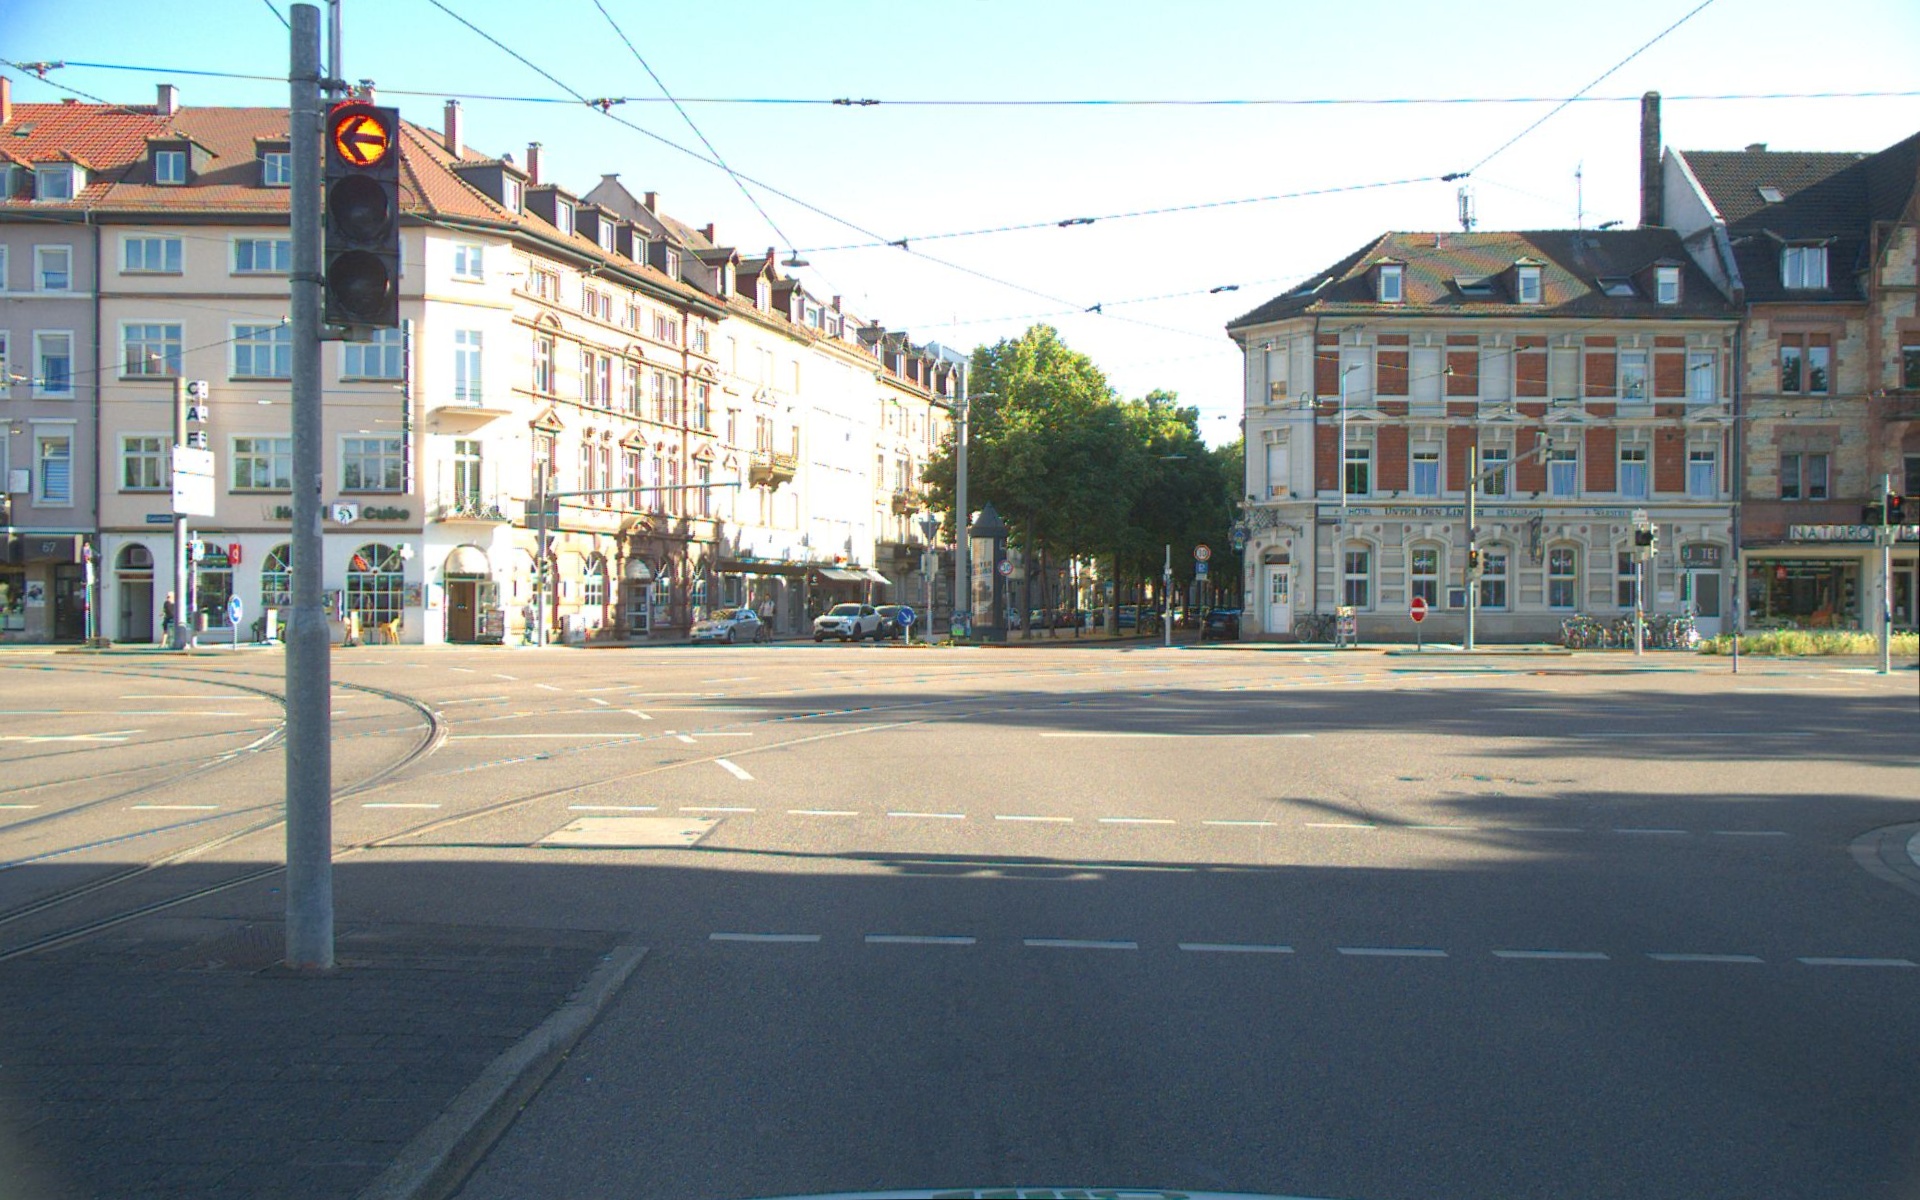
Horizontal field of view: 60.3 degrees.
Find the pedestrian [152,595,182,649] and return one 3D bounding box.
[{"bbox_3d":[-24.859,0.685,51.856,0.570,1.699,0.752,1,-1,-1],"label":"pedestrian"}]

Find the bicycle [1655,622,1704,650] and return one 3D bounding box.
[{"bbox_3d":[23.283,1.168,53.537,0.645,0.855,2.160,1,0,0],"label":"bicycle"}]

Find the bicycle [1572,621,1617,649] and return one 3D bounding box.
[{"bbox_3d":[20.484,1.120,53.464,0.645,0.855,2.160,1,0,0],"label":"bicycle"}]

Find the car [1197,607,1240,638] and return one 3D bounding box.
[{"bbox_3d":[12.959,1.104,82.758,1.642,1.509,3.950,0,0,16],"label":"car"}]

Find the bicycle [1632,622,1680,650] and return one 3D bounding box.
[{"bbox_3d":[22.495,1.154,53.491,0.645,0.855,2.160,1,0,0],"label":"bicycle"}]

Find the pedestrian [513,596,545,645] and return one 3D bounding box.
[{"bbox_3d":[-15.156,0.720,58.217,0.759,1.699,0.831,1,-1,15],"label":"pedestrian"}]

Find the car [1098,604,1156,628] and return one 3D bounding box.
[{"bbox_3d":[11.713,1.114,115.843,3.819,1.677,1.684,0,0,16],"label":"car"}]

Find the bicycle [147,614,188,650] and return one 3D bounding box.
[{"bbox_3d":[-24.866,0.985,51.895,0.561,1.096,1.497,1,0,-1],"label":"bicycle"}]

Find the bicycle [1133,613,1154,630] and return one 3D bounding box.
[{"bbox_3d":[11.052,1.294,99.636,0.625,1.039,1.840,1,0,-14],"label":"bicycle"}]

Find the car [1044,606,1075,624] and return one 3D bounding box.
[{"bbox_3d":[7.889,1.212,130.852,1.642,1.378,3.593,0,0,16],"label":"car"}]

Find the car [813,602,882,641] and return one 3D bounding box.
[{"bbox_3d":[-4.533,0.842,67.234,1.642,1.509,3.774,0,0,16],"label":"car"}]

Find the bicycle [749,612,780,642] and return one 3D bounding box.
[{"bbox_3d":[-7.678,1.046,65.134,0.687,1.137,1.636,1,0,13],"label":"bicycle"}]

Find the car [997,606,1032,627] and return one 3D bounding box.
[{"bbox_3d":[3.820,1.156,115.523,1.642,1.378,3.593,0,0,16],"label":"car"}]

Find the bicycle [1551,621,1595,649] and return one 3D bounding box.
[{"bbox_3d":[19.765,1.107,53.377,0.645,0.855,2.160,1,0,0],"label":"bicycle"}]

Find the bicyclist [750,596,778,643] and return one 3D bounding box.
[{"bbox_3d":[-7.711,0.765,65.011,0.761,1.834,1.056,1,-1,13],"label":"bicyclist"}]

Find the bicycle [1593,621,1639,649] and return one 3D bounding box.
[{"bbox_3d":[21.196,1.132,53.478,0.645,0.855,2.160,1,0,0],"label":"bicycle"}]

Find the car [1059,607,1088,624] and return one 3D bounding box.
[{"bbox_3d":[9.314,1.248,135.904,1.642,1.378,3.593,0,0,16],"label":"car"}]

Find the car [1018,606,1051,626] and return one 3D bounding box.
[{"bbox_3d":[5.531,1.180,122.510,1.642,1.378,3.593,0,0,16],"label":"car"}]

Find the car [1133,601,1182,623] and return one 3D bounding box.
[{"bbox_3d":[15.317,0.957,128.256,3.503,1.677,1.684,0,0,16],"label":"car"}]

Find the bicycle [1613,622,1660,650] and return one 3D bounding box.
[{"bbox_3d":[21.867,1.143,53.512,0.645,0.855,2.160,1,0,0],"label":"bicycle"}]

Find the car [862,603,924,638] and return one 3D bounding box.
[{"bbox_3d":[-2.946,0.886,73.559,1.642,1.509,3.950,0,0,16],"label":"car"}]

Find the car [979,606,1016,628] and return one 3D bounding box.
[{"bbox_3d":[2.563,1.137,111.347,1.642,1.378,3.593,0,0,16],"label":"car"}]

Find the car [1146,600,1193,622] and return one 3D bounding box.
[{"bbox_3d":[16.938,0.882,133.756,3.503,1.677,1.684,0,0,16],"label":"car"}]

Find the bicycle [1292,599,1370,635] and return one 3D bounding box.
[{"bbox_3d":[12.870,0.588,57.466,2.504,1.194,0.818,1,-1,-4],"label":"bicycle"}]

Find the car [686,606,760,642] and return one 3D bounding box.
[{"bbox_3d":[-9.538,0.932,66.752,1.642,1.378,3.593,0,0,16],"label":"car"}]

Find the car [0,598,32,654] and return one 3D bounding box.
[{"bbox_3d":[-32.148,0.790,52.262,4.276,1.741,2.306,1,0,1],"label":"car"}]
